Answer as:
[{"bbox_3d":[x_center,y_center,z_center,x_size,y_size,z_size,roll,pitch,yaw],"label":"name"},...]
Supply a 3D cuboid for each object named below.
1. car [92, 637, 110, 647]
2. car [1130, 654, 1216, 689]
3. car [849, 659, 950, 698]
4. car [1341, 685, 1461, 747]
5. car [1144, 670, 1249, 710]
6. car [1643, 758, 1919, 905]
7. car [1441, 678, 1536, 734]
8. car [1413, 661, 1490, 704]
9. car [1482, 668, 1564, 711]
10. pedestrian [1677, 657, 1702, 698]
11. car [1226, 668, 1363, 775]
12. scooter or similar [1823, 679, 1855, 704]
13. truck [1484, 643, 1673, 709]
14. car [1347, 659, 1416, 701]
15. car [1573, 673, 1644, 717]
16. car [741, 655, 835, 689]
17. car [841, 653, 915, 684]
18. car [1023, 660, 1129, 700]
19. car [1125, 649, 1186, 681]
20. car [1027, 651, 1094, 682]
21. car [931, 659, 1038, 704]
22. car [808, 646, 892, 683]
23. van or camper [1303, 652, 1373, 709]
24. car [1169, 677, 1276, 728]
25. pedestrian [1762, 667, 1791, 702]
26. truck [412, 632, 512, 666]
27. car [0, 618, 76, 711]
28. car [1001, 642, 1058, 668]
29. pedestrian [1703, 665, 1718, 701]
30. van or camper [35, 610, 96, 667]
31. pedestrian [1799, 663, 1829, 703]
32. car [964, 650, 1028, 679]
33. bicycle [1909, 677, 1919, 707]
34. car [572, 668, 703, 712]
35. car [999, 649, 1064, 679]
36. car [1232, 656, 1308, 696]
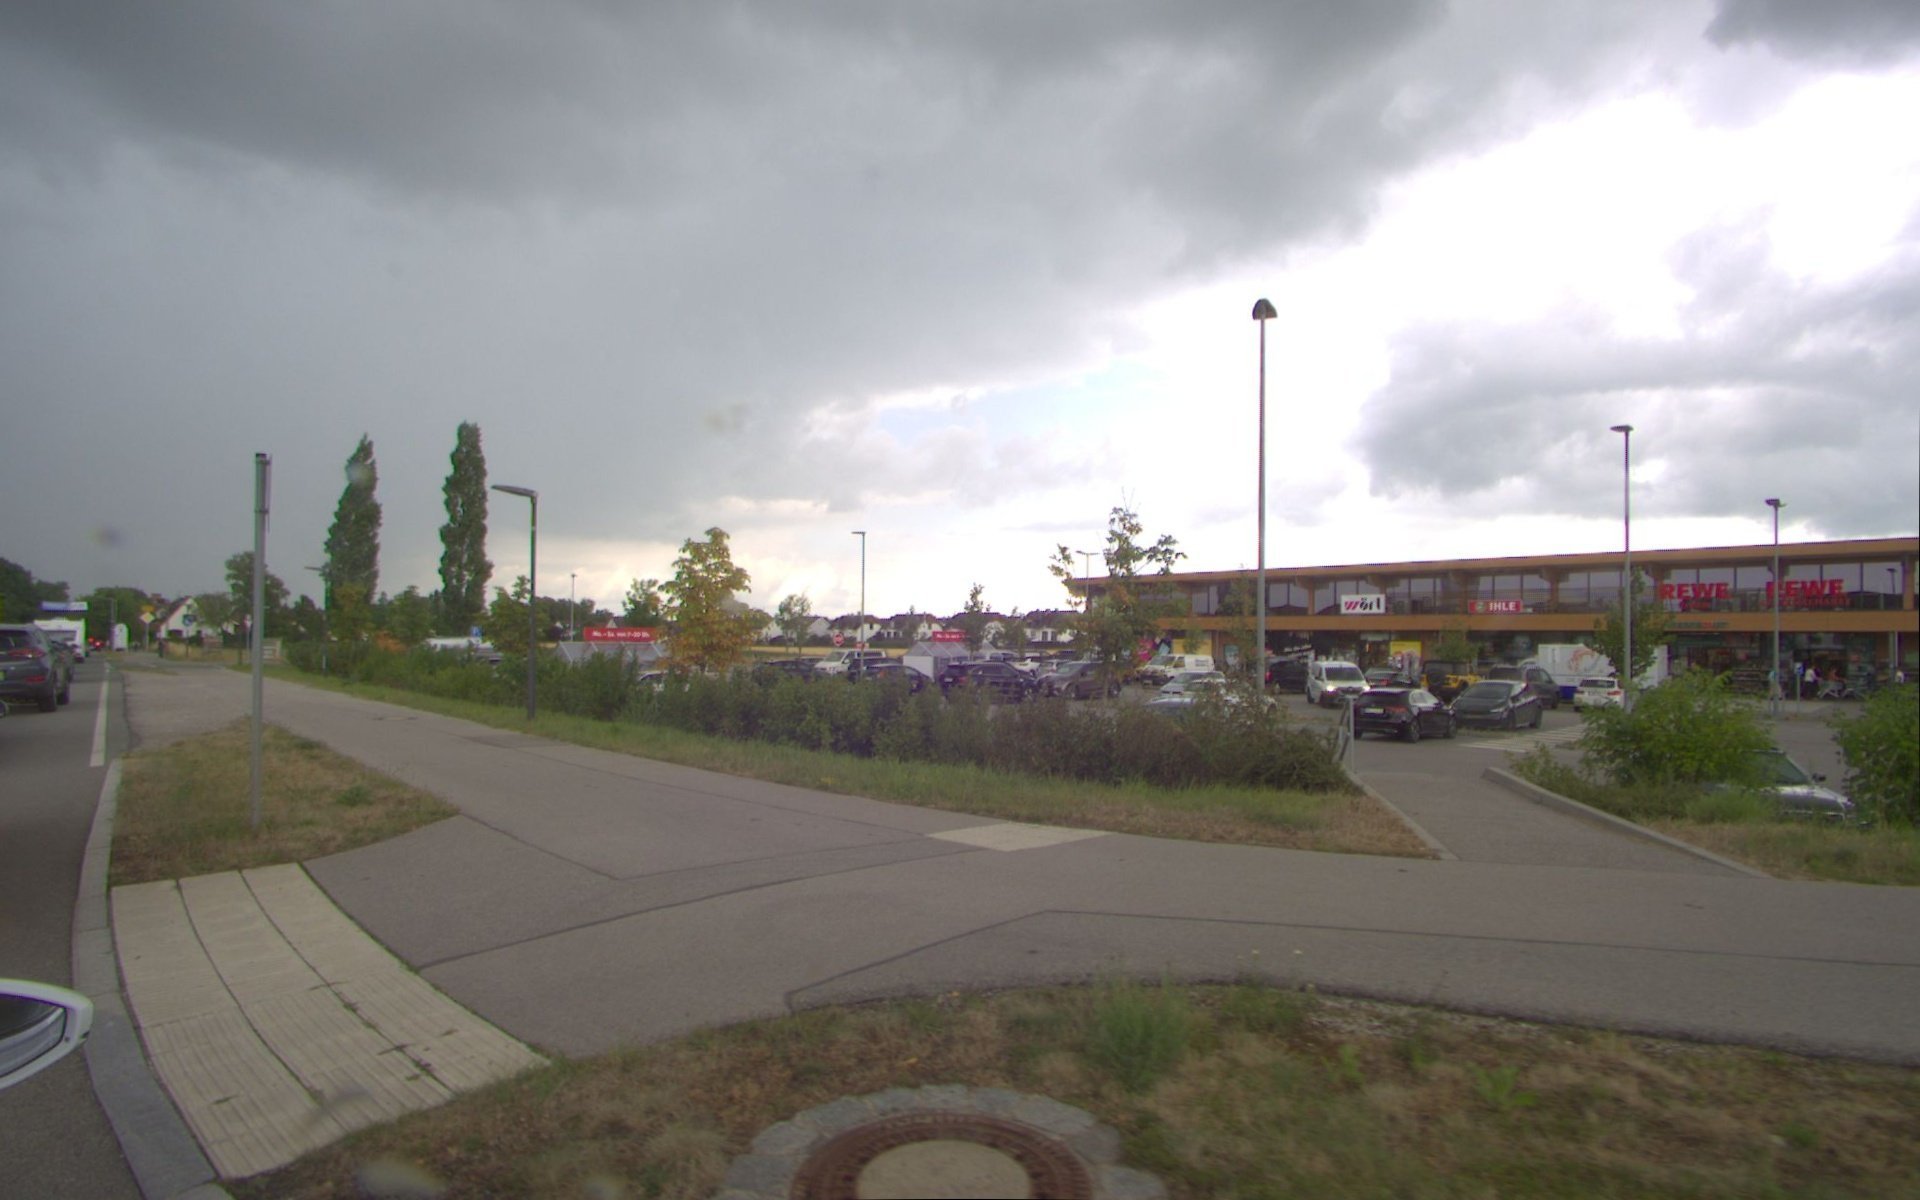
[{"bbox_3d":[-108.730,5.317,126.745,1.601,1.288,3.433,3,-3,-40],"label":"car"},{"bbox_3d":[11.881,3.938,55.655,5.249,1.853,1.983,3,-4,-41],"label":"car"},{"bbox_3d":[-2.747,3.584,46.317,4.372,1.685,1.983,3,-3,-41],"label":"car"},{"bbox_3d":[12.398,3.182,28.029,1.818,1.415,3.965,-1,-3,44],"label":"car"},{"bbox_3d":[9.863,3.679,41.529,4.740,1.503,1.888,3,-3,-42],"label":"car"},{"bbox_3d":[11.522,3.173,14.339,1.551,1.389,3.733,0,-3,12],"label":"car"},{"bbox_3d":[16.964,3.334,32.060,1.713,1.572,3.966,-1,-3,43],"label":"car"},{"bbox_3d":[22.299,3.704,45.345,3.959,1.877,1.757,3,-4,-41],"label":"car"},{"bbox_3d":[23.981,3.757,42.571,4.080,1.746,1.836,4,-5,-42],"label":"car"},{"bbox_3d":[36.925,3.918,50.688,0.921,2.039,0.799,-1,-2,41],"label":"pedestrian"},{"bbox_3d":[4.578,1.630,14.018,1.550,1.221,3.756,1,-4,16],"label":"car"},{"bbox_3d":[42.833,4.464,48.810,0.986,1.140,0.792,1,-4,24],"label":"scooter or similar"},{"bbox_3d":[29.132,3.490,47.430,7.184,2.842,2.950,-2,-3,45],"label":"truck"},{"bbox_3d":[20.098,3.771,47.684,1.754,1.878,3.965,-1,-3,44],"label":"car"},{"bbox_3d":[26.240,3.793,40.466,1.713,1.549,3.966,-1,-3,43],"label":"car"},{"bbox_3d":[-9.009,3.756,52.597,4.524,1.685,1.983,3,-3,-41],"label":"car"},{"bbox_3d":[-4.614,3.863,56.633,3.959,1.727,1.701,3,-4,-41],"label":"car"},{"bbox_3d":[5.307,3.571,45.455,4.939,1.685,1.983,3,-3,-41],"label":"car"},{"bbox_3d":[12.635,4.204,64.523,4.075,1.917,1.781,4,-4,-42],"label":"car"},{"bbox_3d":[6.345,4.187,62.919,3.955,1.860,1.985,3,-4,-38],"label":"car"},{"bbox_3d":[1.056,3.362,41.568,4.420,1.727,1.788,4,-4,-41],"label":"car"},{"bbox_3d":[-6.459,3.764,59.405,1.975,2.039,5.089,0,-2,39],"label":"car"},{"bbox_3d":[15.505,3.252,41.268,1.731,2.124,4.807,0,-2,9],"label":"van or camper"},{"bbox_3d":[8.619,3.287,32.686,1.666,1.503,3.962,-2,-4,44],"label":"car"},{"bbox_3d":[39.617,4.098,48.591,0.737,1.678,0.804,1,-2,-13],"label":"pedestrian"},{"bbox_3d":[-28.618,2.836,57.669,1.980,1.895,4.770,-2,-4,45],"label":"truck"},{"bbox_3d":[-18.135,1.190,19.130,1.763,1.638,3.966,2,-3,-40],"label":"car"},{"bbox_3d":[5.169,4.093,74.052,3.953,1.863,1.861,2,-3,-37],"label":"car"},{"bbox_3d":[41.537,4.587,55.437,0.520,1.973,0.573,2,-2,-43],"label":"pedestrian"},{"bbox_3d":[-55.452,2.440,62.186,2.606,3.364,6.764,3,-4,-41],"label":"van or camper"},{"bbox_3d":[41.978,4.086,49.236,0.913,1.921,0.792,1,-4,24],"label":"pedestrian"},{"bbox_3d":[2.442,4.320,66.991,3.954,1.860,1.985,3,-3,-38],"label":"car"},{"bbox_3d":[44.888,4.202,45.235,0.970,1.325,2.844,2,-3,-42],"label":"bicycle"},{"bbox_3d":[-11.890,3.283,37.083,4.202,1.458,1.983,3,-3,-41],"label":"car"},{"bbox_3d":[4.648,4.153,64.912,3.953,1.861,1.986,2,-3,-37],"label":"car"},{"bbox_3d":[16.086,3.949,51.881,3.961,1.859,1.983,6,-5,-41],"label":"car"}]
